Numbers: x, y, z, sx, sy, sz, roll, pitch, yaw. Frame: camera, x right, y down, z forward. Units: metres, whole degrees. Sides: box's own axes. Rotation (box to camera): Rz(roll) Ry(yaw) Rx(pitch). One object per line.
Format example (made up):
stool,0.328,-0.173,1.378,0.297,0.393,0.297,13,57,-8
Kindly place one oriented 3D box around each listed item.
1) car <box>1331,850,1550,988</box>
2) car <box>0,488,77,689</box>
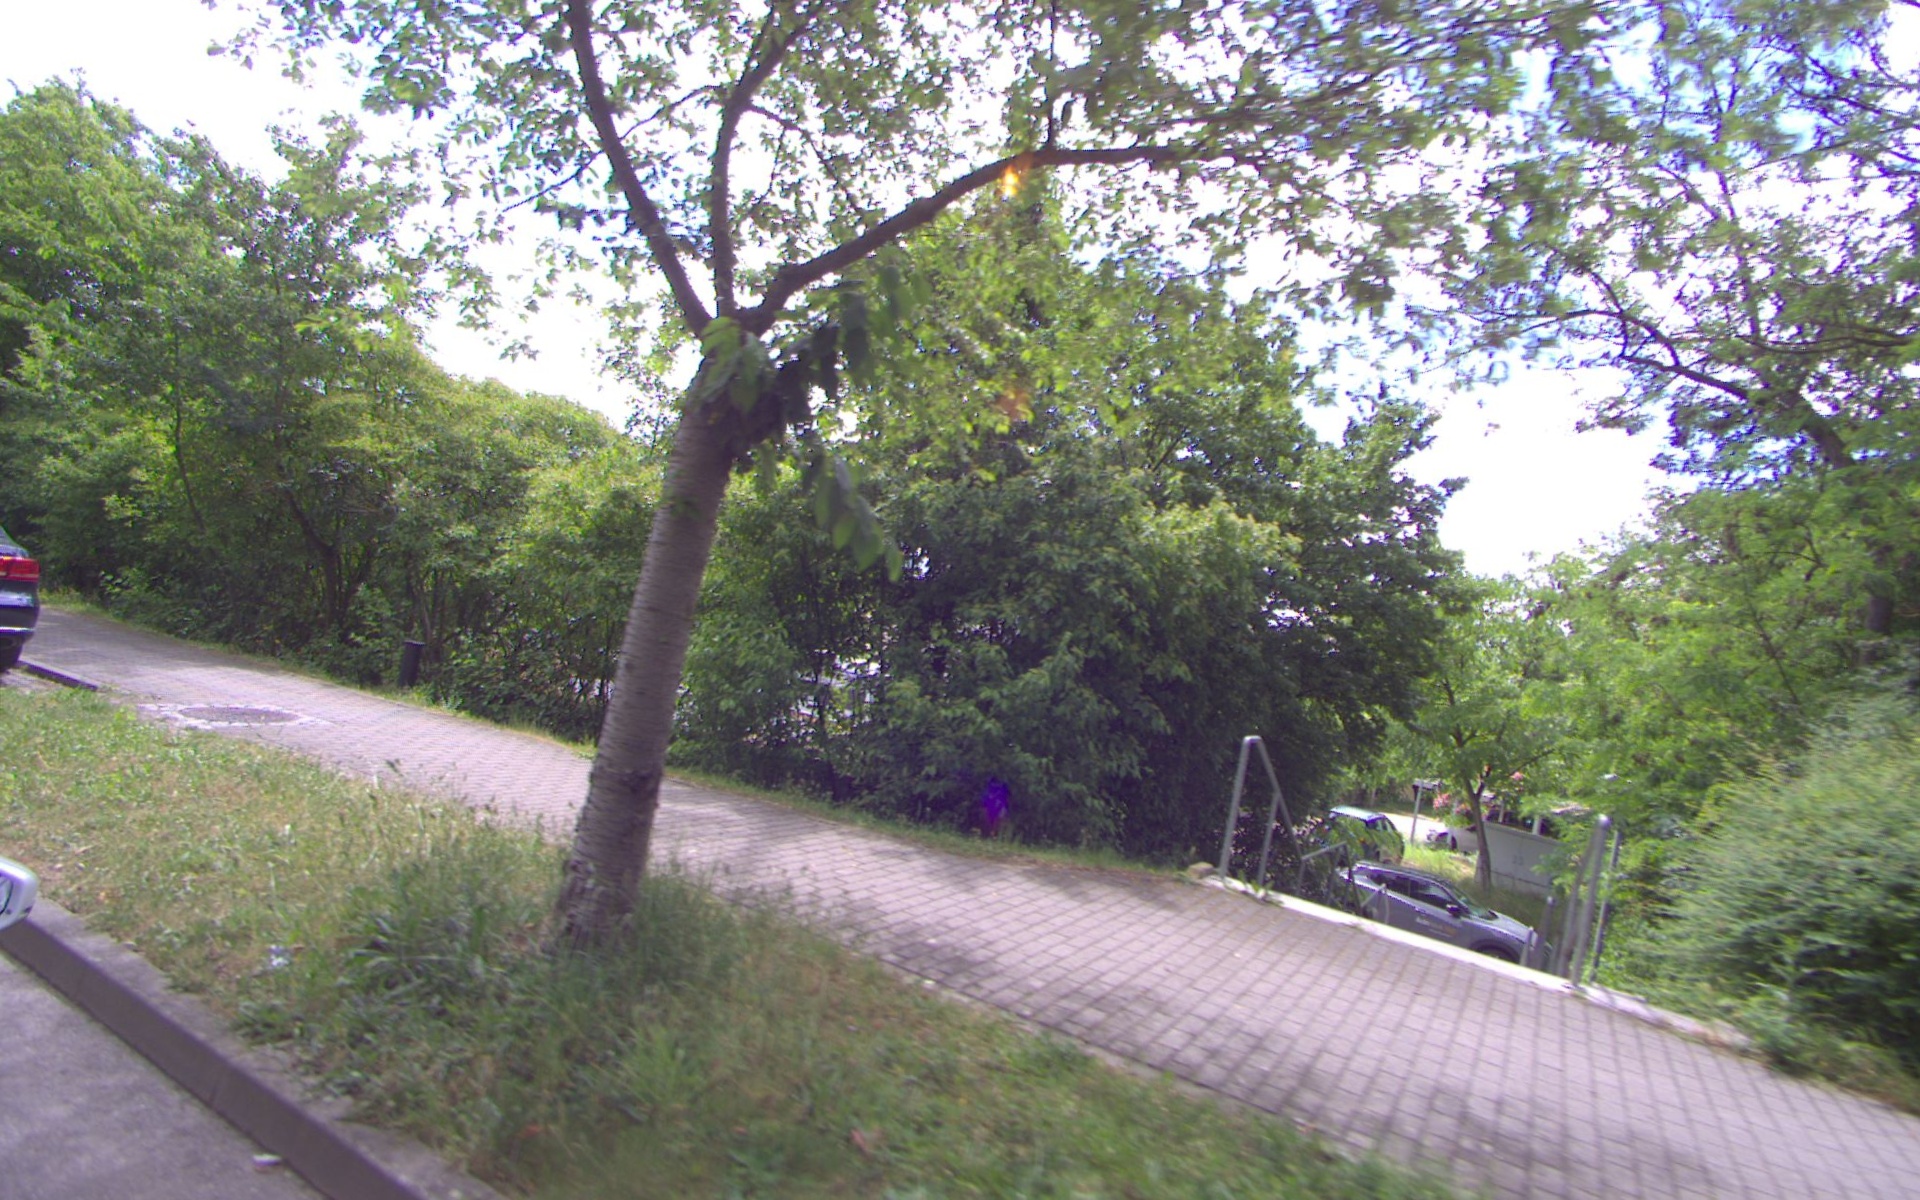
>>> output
car,9.367,6.126,19.695,3.522,1.536,1.710,6,-3,36
car,-9.064,-0.357,7.927,4.259,1.451,1.780,8,-1,30
